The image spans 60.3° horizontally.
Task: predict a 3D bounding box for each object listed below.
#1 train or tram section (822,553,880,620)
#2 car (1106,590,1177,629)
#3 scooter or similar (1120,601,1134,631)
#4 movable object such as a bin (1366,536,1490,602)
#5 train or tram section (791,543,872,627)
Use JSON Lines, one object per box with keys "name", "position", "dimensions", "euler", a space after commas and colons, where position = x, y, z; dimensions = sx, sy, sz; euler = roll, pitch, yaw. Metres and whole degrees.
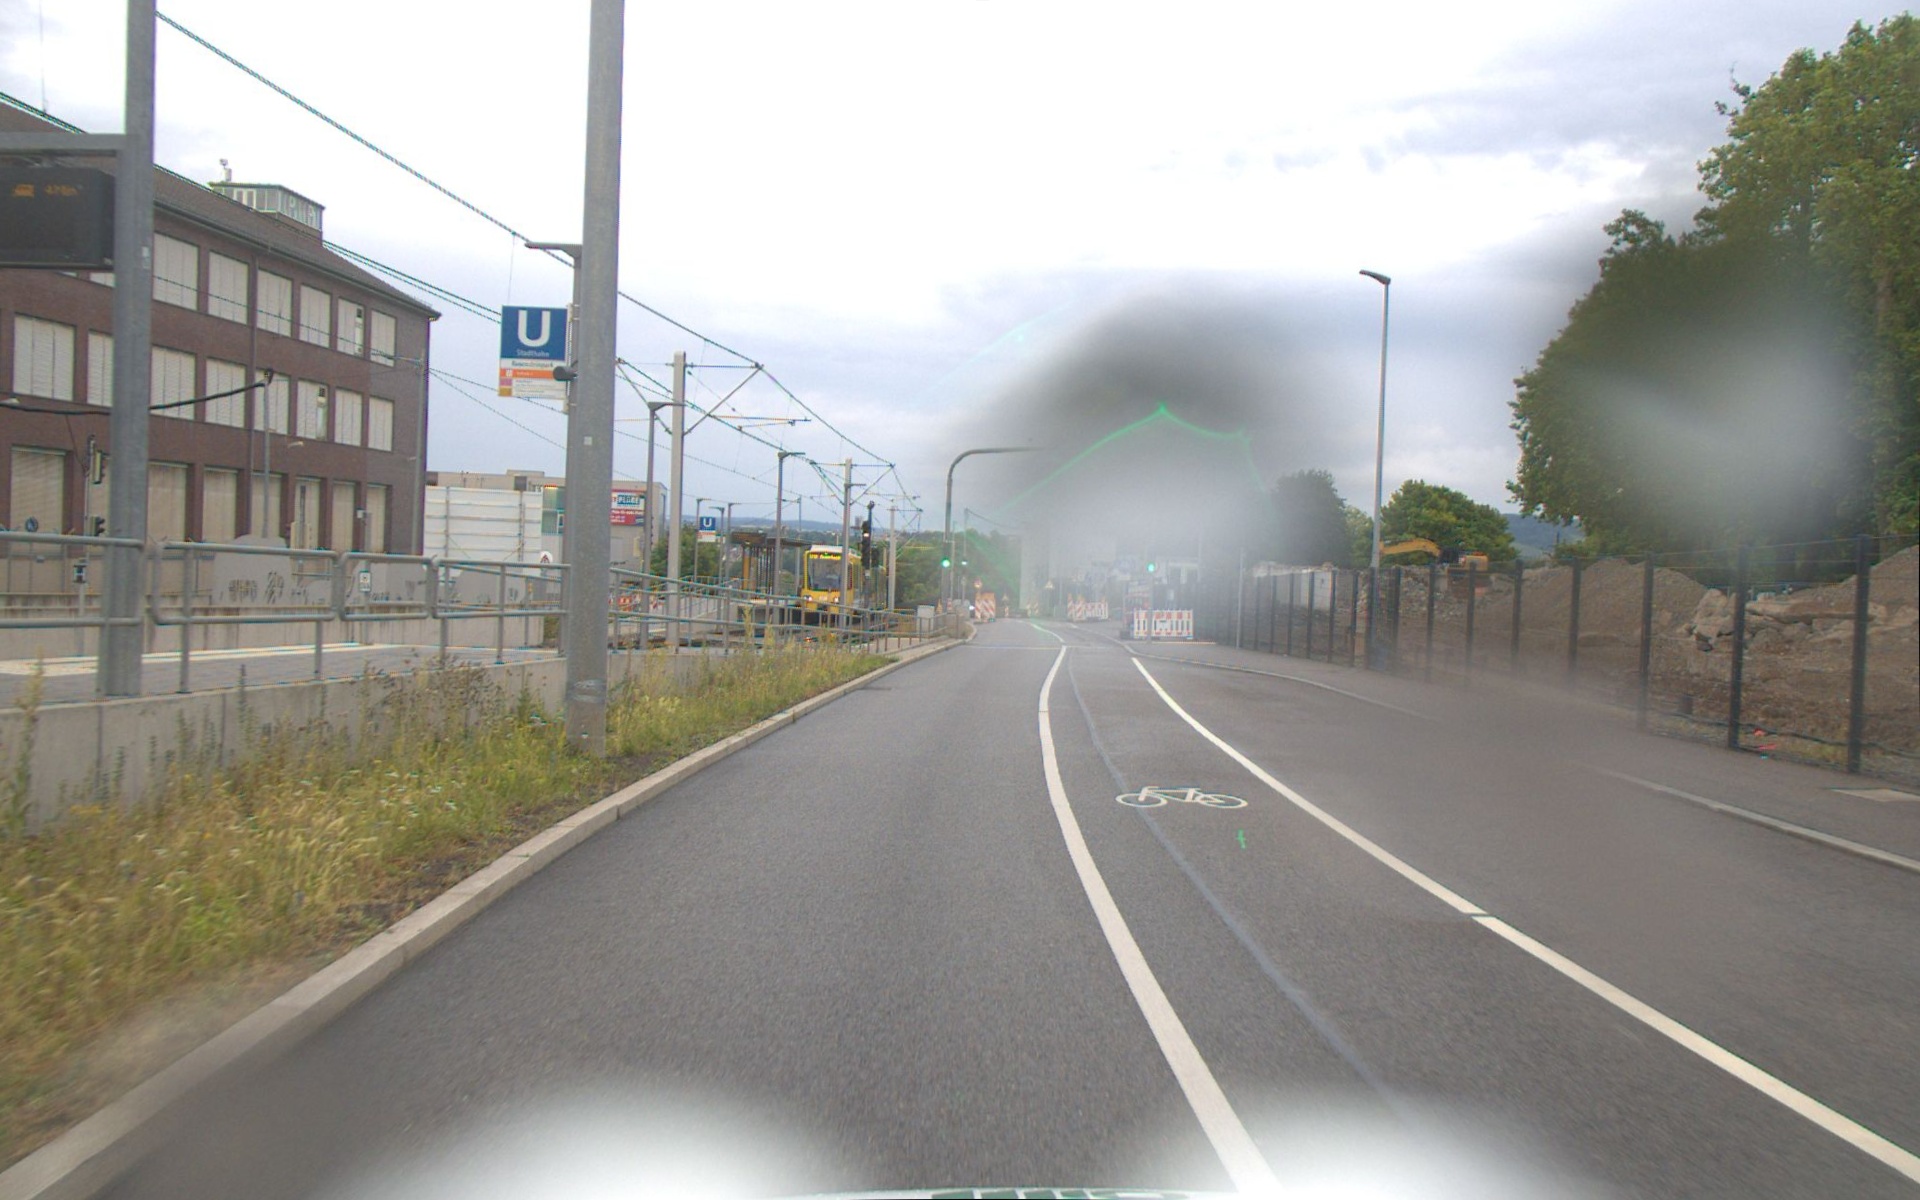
{"name": "train or tram section", "position": [-7.061, -0.826, 109.768], "dimensions": [2.895, 3.953, 19.285], "euler": [2, 0, -1]}
{"name": "car", "position": [9.035, 0.475, 82.055], "dimensions": [1.786, 1.825, 4.398], "euler": [1, 0, 31]}
{"name": "scooter or similar", "position": [7.727, 0.738, 76.462], "dimensions": [0.602, 1.375, 1.913], "euler": [1, 0, 7]}
{"name": "movable object such as a bin", "position": [44.684, -2.917, 158.129], "dimensions": [10.992, 6.100, 3.494], "euler": [1, -1, 8]}
{"name": "train or tram section", "position": [-6.755, -0.765, 90.097], "dimensions": [2.895, 3.953, 19.569], "euler": [2, 0, -1]}
